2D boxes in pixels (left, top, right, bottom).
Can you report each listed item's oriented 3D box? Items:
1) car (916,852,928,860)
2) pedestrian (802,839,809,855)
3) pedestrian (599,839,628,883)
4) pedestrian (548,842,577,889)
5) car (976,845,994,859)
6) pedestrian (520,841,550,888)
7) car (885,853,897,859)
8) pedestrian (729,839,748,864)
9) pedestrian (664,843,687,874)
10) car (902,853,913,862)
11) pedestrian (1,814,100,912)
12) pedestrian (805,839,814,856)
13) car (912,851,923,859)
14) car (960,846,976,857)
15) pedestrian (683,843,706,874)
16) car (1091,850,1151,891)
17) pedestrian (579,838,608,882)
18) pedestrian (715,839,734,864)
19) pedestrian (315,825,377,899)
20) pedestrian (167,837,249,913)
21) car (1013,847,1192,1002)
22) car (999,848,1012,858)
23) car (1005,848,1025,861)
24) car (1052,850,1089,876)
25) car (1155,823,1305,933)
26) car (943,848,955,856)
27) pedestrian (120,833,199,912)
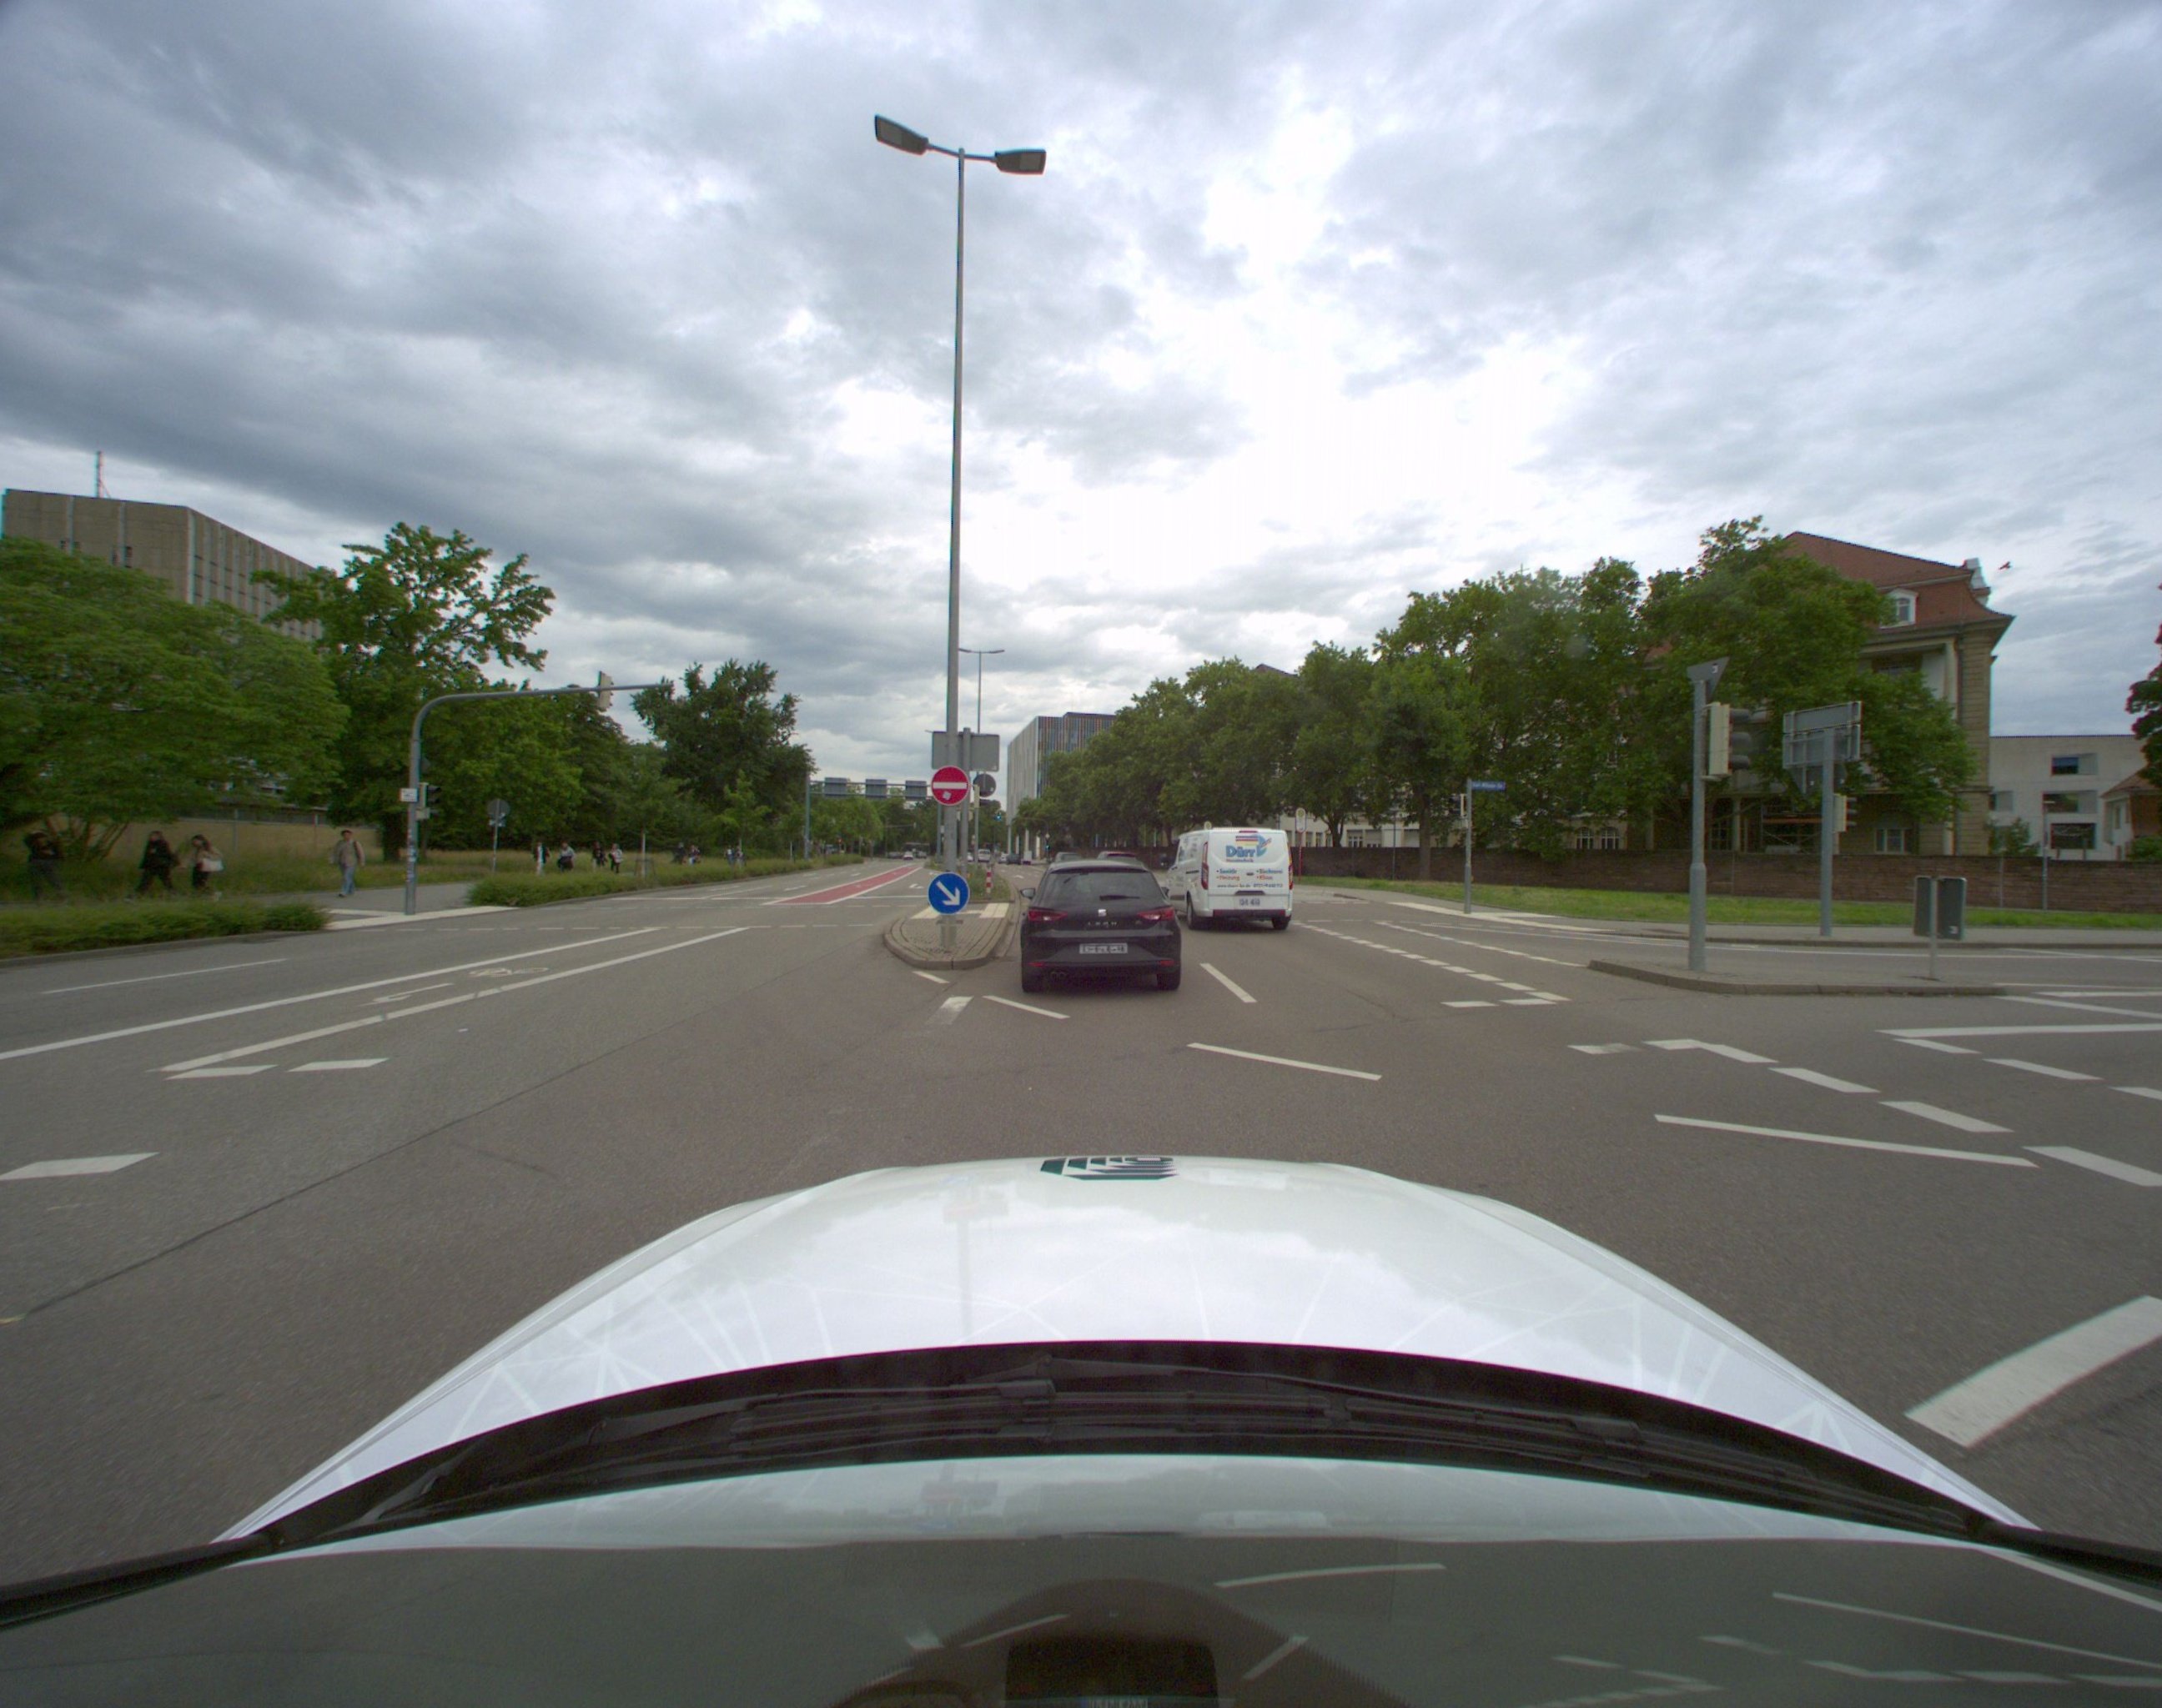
[{"bbox_3d":[-34.167,0.375,174.428,2.000,1.780,3.974,0,0,-19],"label":"car"},{"bbox_3d":[-34.750,-0.892,102.742,0.666,2.013,0.595,1,0,-3],"label":"pedestrian"},{"bbox_3d":[-21.930,0.336,38.242,0.753,2.013,1.046,1,0,-3],"label":"pedestrian"},{"bbox_3d":[-21.076,0.460,33.114,0.711,1.870,0.757,1,0,-1],"label":"pedestrian"},{"bbox_3d":[-13.348,-0.295,113.324,1.997,2.013,3.980,1,0,-15],"label":"car"},{"bbox_3d":[-21.977,0.431,32.797,0.712,1.870,0.757,1,0,-3],"label":"pedestrian"},{"bbox_3d":[-40.520,0.407,173.376,1.886,1.416,3.828,1,0,-22],"label":"car"},{"bbox_3d":[-24.301,-0.177,57.806,0.917,1.779,1.061,1,0,-8],"label":"pedestrian"},{"bbox_3d":[-23.640,0.250,47.511,0.917,1.779,1.061,1,0,-8],"label":"pedestrian"},{"bbox_3d":[-30.532,0.625,143.400,1.690,1.416,3.624,1,0,-16],"label":"car"},{"bbox_3d":[-21.917,0.179,17.343,0.752,2.013,1.047,1,0,0],"label":"pedestrian"},{"bbox_3d":[-32.838,-0.759,98.527,0.720,2.013,0.781,1,0,-2],"label":"pedestrian"},{"bbox_3d":[-40.317,0.202,200.729,2.000,1.780,3.974,0,0,-19],"label":"car"},{"bbox_3d":[-18.451,-0.429,132.662,1.999,1.640,3.976,1,0,-18],"label":"car"},{"bbox_3d":[-22.645,0.266,47.754,0.917,1.779,1.061,1,0,-8],"label":"pedestrian"},{"bbox_3d":[1.602,0.633,34.302,1.856,1.600,4.195,1,0,-7],"label":"car"},{"bbox_3d":[-22.688,0.271,37.917,0.753,2.013,1.046,1,0,-3],"label":"pedestrian"},{"bbox_3d":[-25.228,-0.172,57.675,0.917,1.779,1.061,1,0,-8],"label":"pedestrian"},{"bbox_3d":[-20.436,0.212,22.673,0.752,2.013,1.047,1,0,0],"label":"pedestrian"},{"bbox_3d":[-20.269,0.463,18.935,0.752,1.712,1.047,1,0,0],"label":"pedestrian"},{"bbox_3d":[0.173,0.758,10.127,1.741,1.464,3.997,-2,-2,-2],"label":"car"},{"bbox_3d":[-10.661,-0.146,115.059,1.527,1.365,2.956,1,0,-13],"label":"car"},{"bbox_3d":[-8.400,0.056,103.543,1.921,1.684,3.980,1,0,-15],"label":"car"},{"bbox_3d":[-0.733,0.566,52.740,1.991,1.566,4.196,1,0,-6],"label":"car"},{"bbox_3d":[2.995,0.439,17.586,1.990,2.019,5.025,1,0,-4],"label":"car"},{"bbox_3d":[-21.489,-0.393,132.511,1.715,1.265,3.322,1,0,-16],"label":"car"},{"bbox_3d":[-21.073,0.411,18.642,0.752,1.765,0.906,1,0,0],"label":"pedestrian"}]
